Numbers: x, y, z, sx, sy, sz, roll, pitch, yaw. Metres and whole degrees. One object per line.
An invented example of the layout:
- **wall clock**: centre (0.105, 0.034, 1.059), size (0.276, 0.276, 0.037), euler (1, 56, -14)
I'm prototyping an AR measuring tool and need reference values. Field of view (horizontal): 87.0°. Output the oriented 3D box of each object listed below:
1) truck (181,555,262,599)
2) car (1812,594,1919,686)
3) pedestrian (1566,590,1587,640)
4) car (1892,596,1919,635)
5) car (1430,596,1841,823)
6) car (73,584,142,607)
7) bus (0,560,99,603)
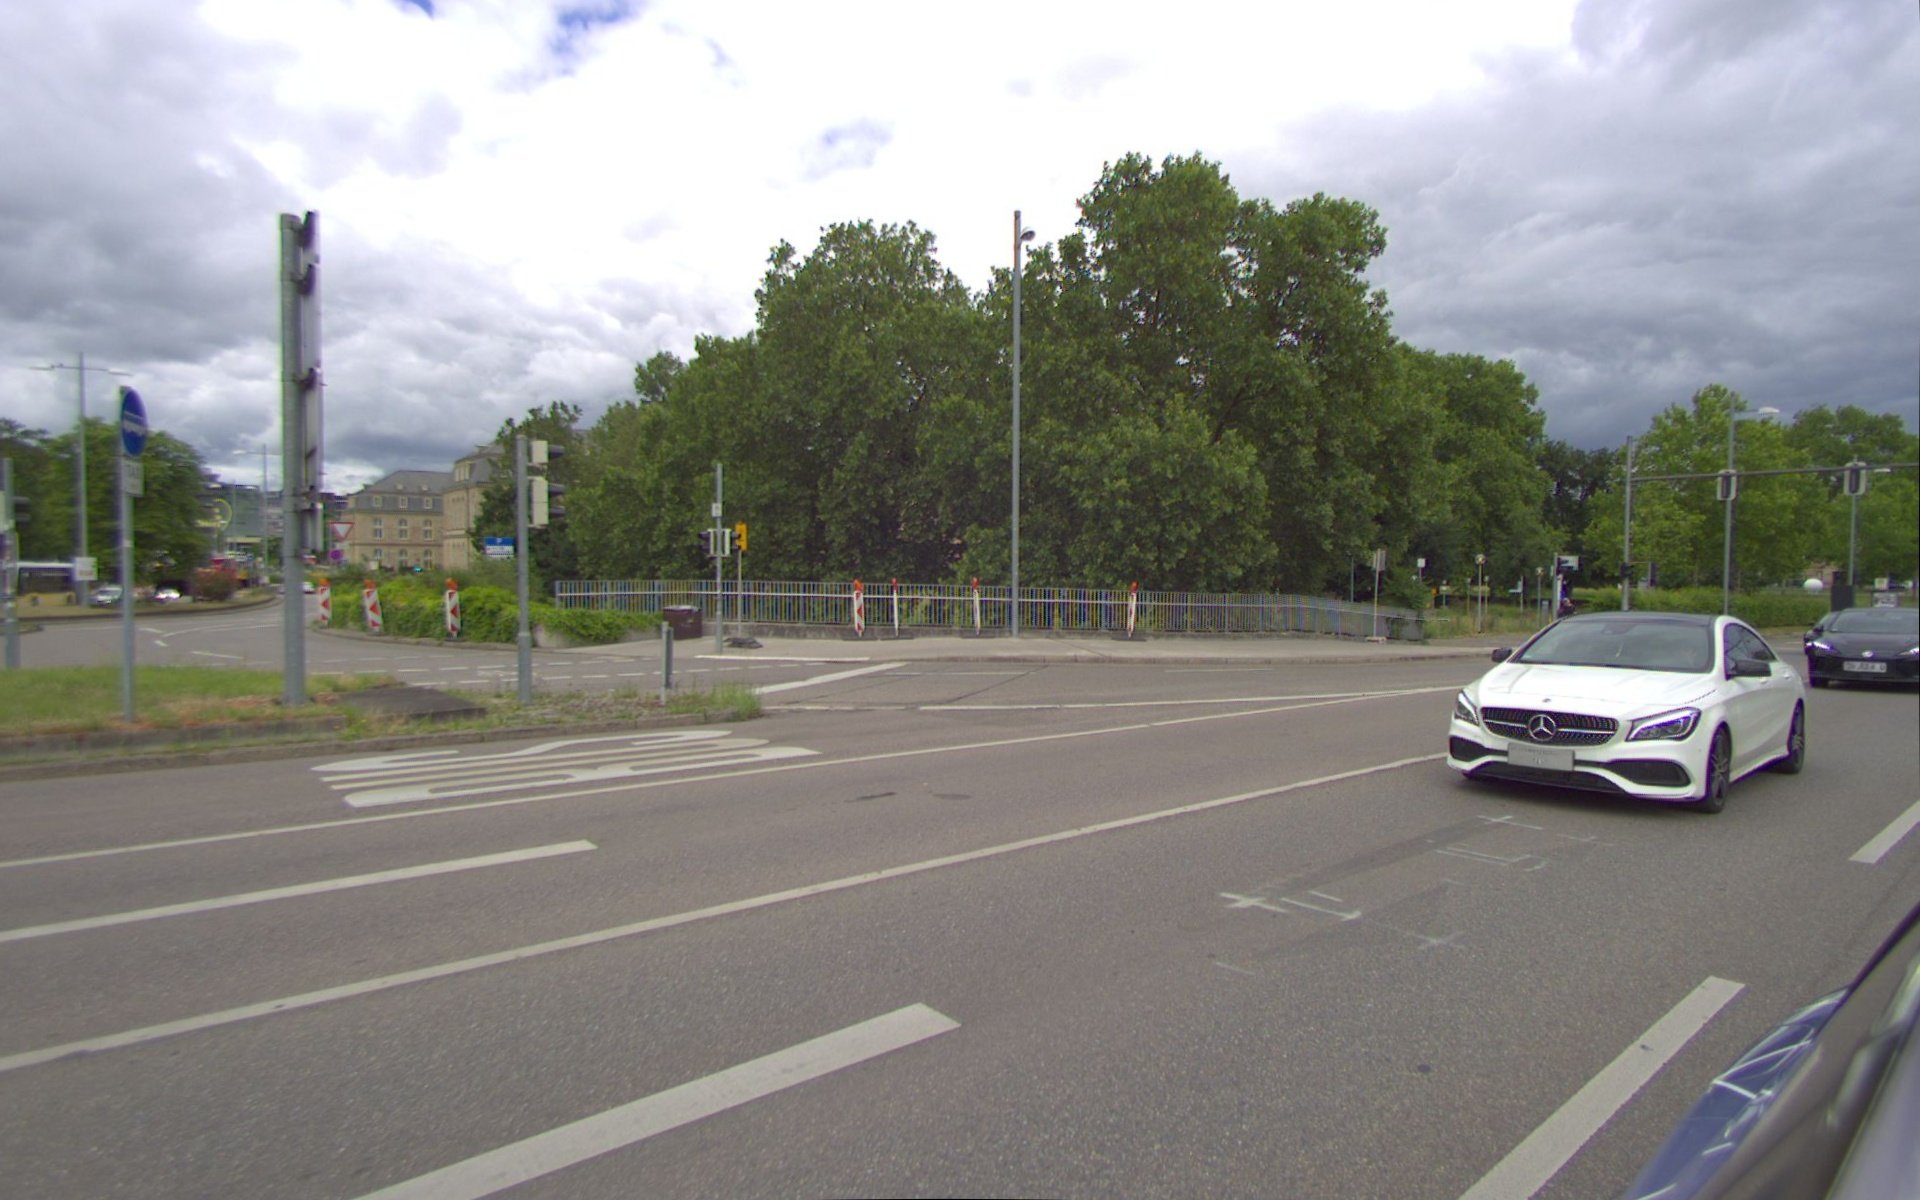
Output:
- **truck**: centre (-60.510, -1.845, 83.171), size (2.753, 3.412, 7.651), euler (0, 0, -15)
- **car**: centre (17.515, 0.698, 18.856), size (4.046, 1.543, 1.829), euler (1, 0, -40)
- **pedestrian**: centre (22.425, 0.545, 36.807), size (0.610, 1.786, 0.479), euler (0, 0, -42)
- **car**: centre (40.032, 0.630, 41.802), size (3.930, 1.556, 1.722), euler (0, 1, -40)
- **car**: centre (5.914, 0.704, 8.635), size (4.425, 1.441, 1.722), euler (0, 1, -40)
- **car**: centre (-53.757, -0.289, 63.910), size (1.778, 1.431, 4.099), euler (0, 1, -15)
- **bus**: centre (-65.965, -1.290, 72.289), size (2.517, 2.887, 9.688), euler (0, 1, -12)
